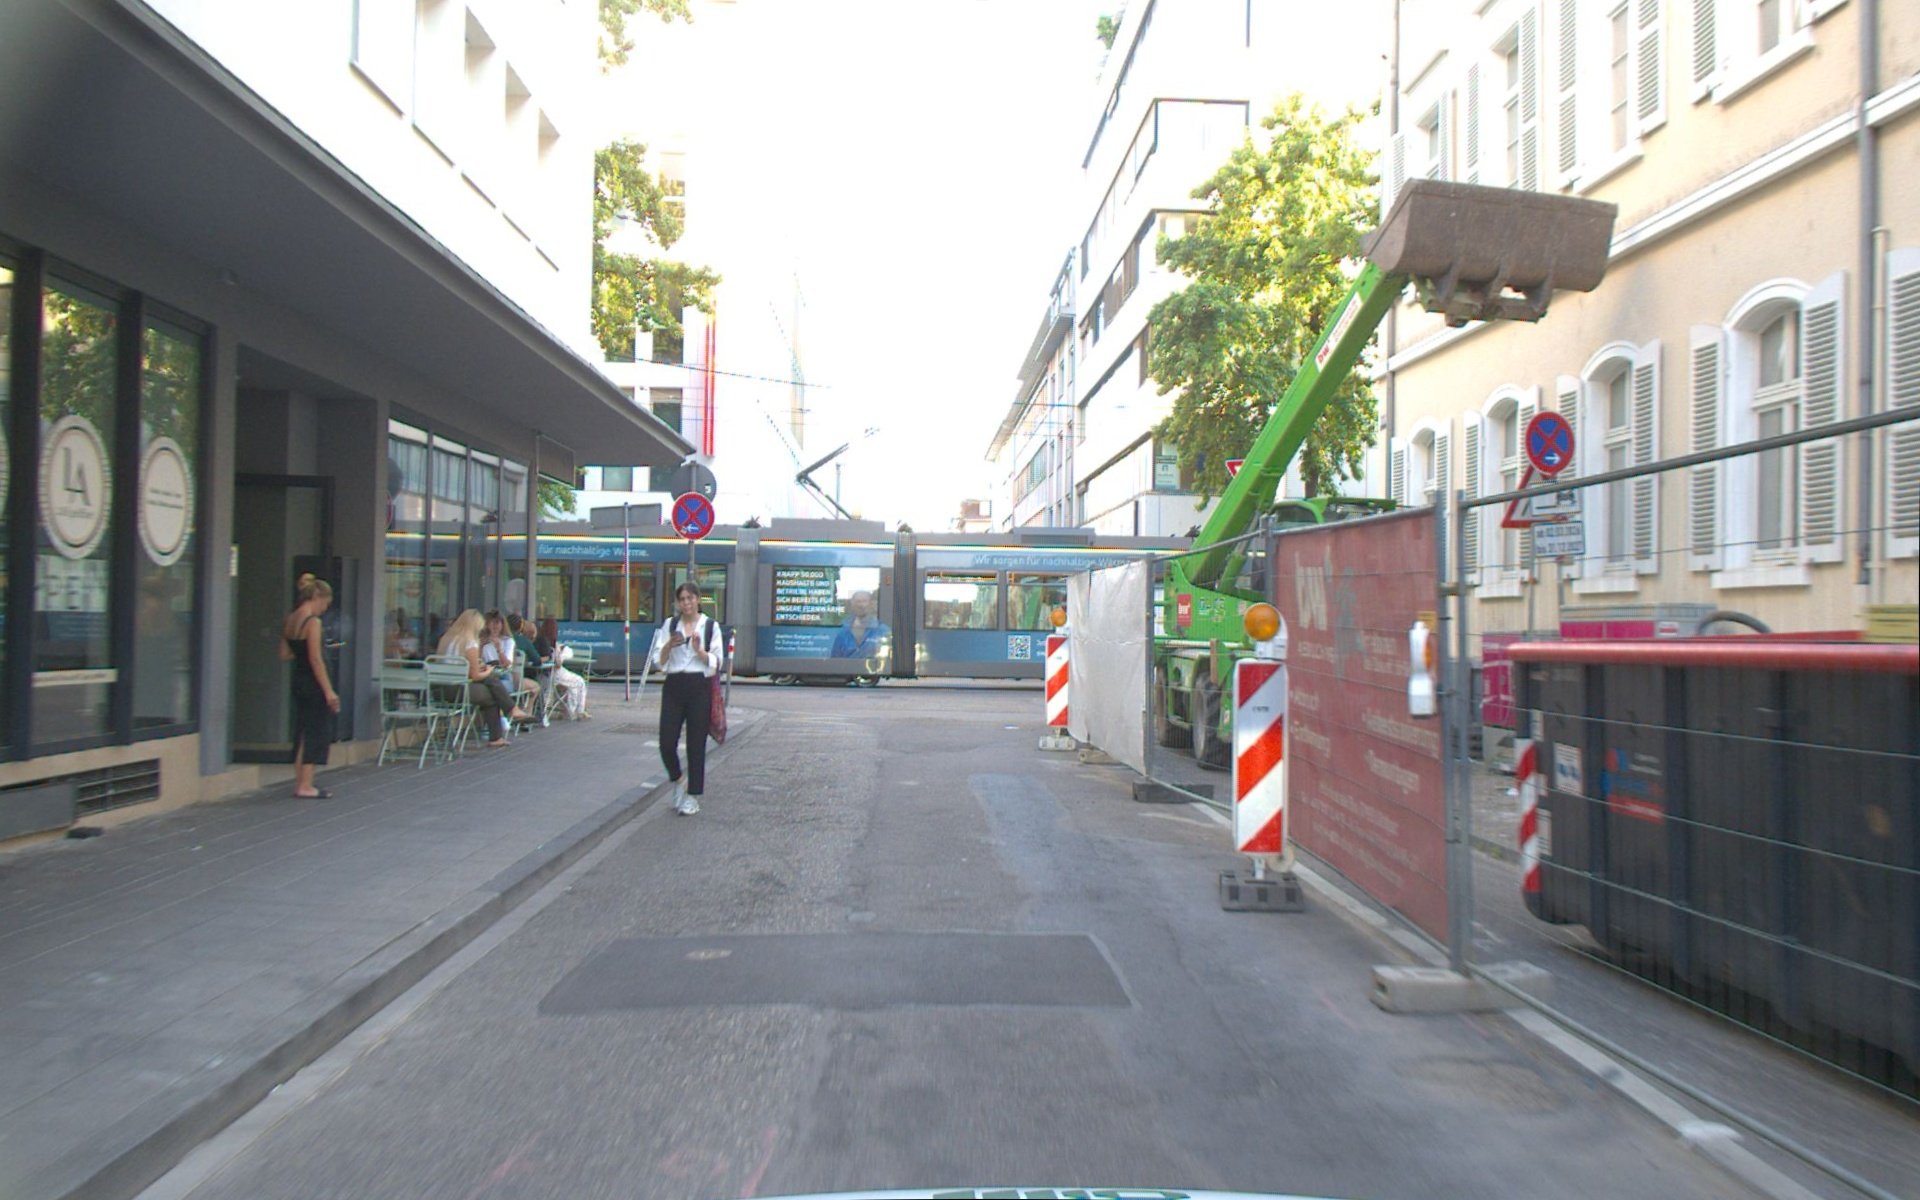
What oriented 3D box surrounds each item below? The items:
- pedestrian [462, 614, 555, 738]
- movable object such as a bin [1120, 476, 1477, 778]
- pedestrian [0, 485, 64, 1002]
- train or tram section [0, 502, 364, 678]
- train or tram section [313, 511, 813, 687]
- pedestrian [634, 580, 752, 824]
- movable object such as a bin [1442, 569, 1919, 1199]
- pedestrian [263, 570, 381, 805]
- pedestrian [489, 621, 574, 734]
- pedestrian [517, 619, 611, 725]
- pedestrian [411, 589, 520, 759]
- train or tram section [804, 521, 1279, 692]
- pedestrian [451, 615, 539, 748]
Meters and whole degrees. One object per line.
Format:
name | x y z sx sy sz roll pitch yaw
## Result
pedestrian | -4.865 0.811 17.870 0.689 1.261 0.778 4 -1 1
movable object such as a bin | 3.582 0.279 18.914 2.583 2.923 5.560 0 -1 -4
pedestrian | -3.696 0.498 5.683 0.690 1.813 0.932 1 -1 -2
train or tram section | -18.766 -0.186 35.690 10.592 3.586 3.011 1 -2 -3
train or tram section | -8.408 0.035 36.179 10.159 3.586 3.015 1 -2 -3
pedestrian | -2.010 0.750 12.546 0.741 1.770 0.784 -1 -1 -1
movable object such as a bin | 3.957 0.763 4.448 2.833 1.694 7.288 0 0 -3
pedestrian | -4.509 0.605 11.685 0.649 1.597 0.632 3 -1 -28
pedestrian | -4.865 0.870 18.820 0.689 1.216 0.691 4 -1 1
pedestrian | -4.817 0.867 20.120 0.692 1.240 0.839 1 -1 35
pedestrian | -4.765 0.698 15.977 0.689 1.575 0.861 1 -1 5
train or tram section | 1.722 0.173 36.679 10.129 3.586 3.024 0 -1 -3
pedestrian | -4.760 0.822 16.902 0.695 1.308 0.854 2 -1 -26
